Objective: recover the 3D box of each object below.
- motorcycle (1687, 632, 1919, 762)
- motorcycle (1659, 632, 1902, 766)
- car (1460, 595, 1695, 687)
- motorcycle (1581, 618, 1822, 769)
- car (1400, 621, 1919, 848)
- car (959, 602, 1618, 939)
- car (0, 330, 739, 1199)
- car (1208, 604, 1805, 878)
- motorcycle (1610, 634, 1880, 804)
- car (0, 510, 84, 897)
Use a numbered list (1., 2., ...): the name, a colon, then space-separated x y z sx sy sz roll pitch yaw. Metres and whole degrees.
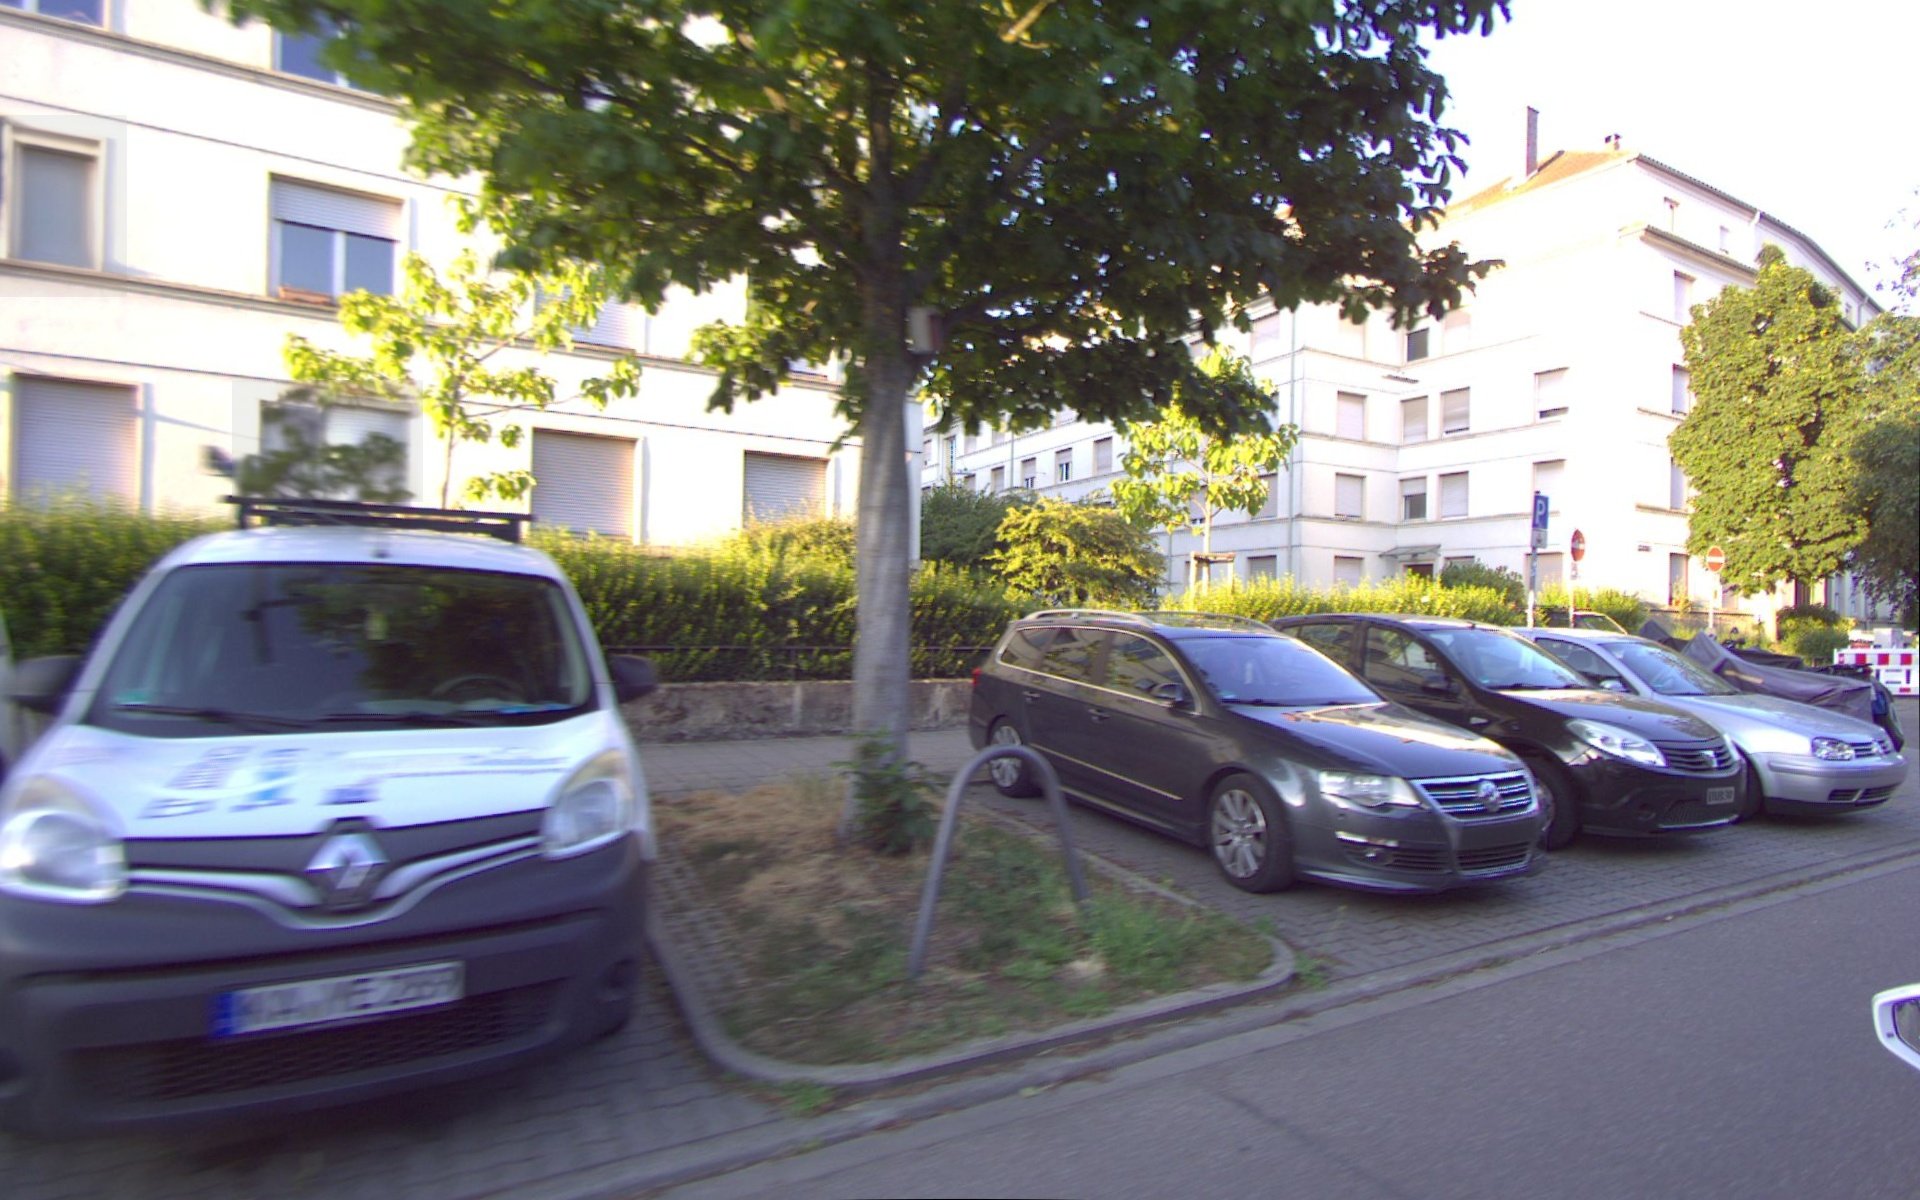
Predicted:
1. motorcycle: 10.995 1.186 13.060 0.869 1.455 2.375 2 -1 -25
2. motorcycle: 10.071 1.155 12.454 0.763 1.455 2.224 2 -1 -25
3. car: 15.078 0.943 24.807 1.976 2.040 4.557 2 -1 -29
4. motorcycle: 8.802 1.041 12.054 0.763 1.603 2.224 2 -1 -25
5. car: 6.105 0.998 9.066 1.668 1.526 3.701 2 -1 -26
6. car: 1.770 0.812 6.953 1.827 1.424 4.311 2 1 -26
7. car: -2.453 0.385 4.450 1.973 2.098 4.498 0 2 -25
8. car: 3.997 0.864 8.099 1.706 1.604 3.973 2 -1 -26
9. motorcycle: 7.692 1.093 9.947 0.714 1.455 1.974 2 -1 -33
10. car: -4.882 0.500 3.260 1.917 1.826 4.407 1 1 -25
